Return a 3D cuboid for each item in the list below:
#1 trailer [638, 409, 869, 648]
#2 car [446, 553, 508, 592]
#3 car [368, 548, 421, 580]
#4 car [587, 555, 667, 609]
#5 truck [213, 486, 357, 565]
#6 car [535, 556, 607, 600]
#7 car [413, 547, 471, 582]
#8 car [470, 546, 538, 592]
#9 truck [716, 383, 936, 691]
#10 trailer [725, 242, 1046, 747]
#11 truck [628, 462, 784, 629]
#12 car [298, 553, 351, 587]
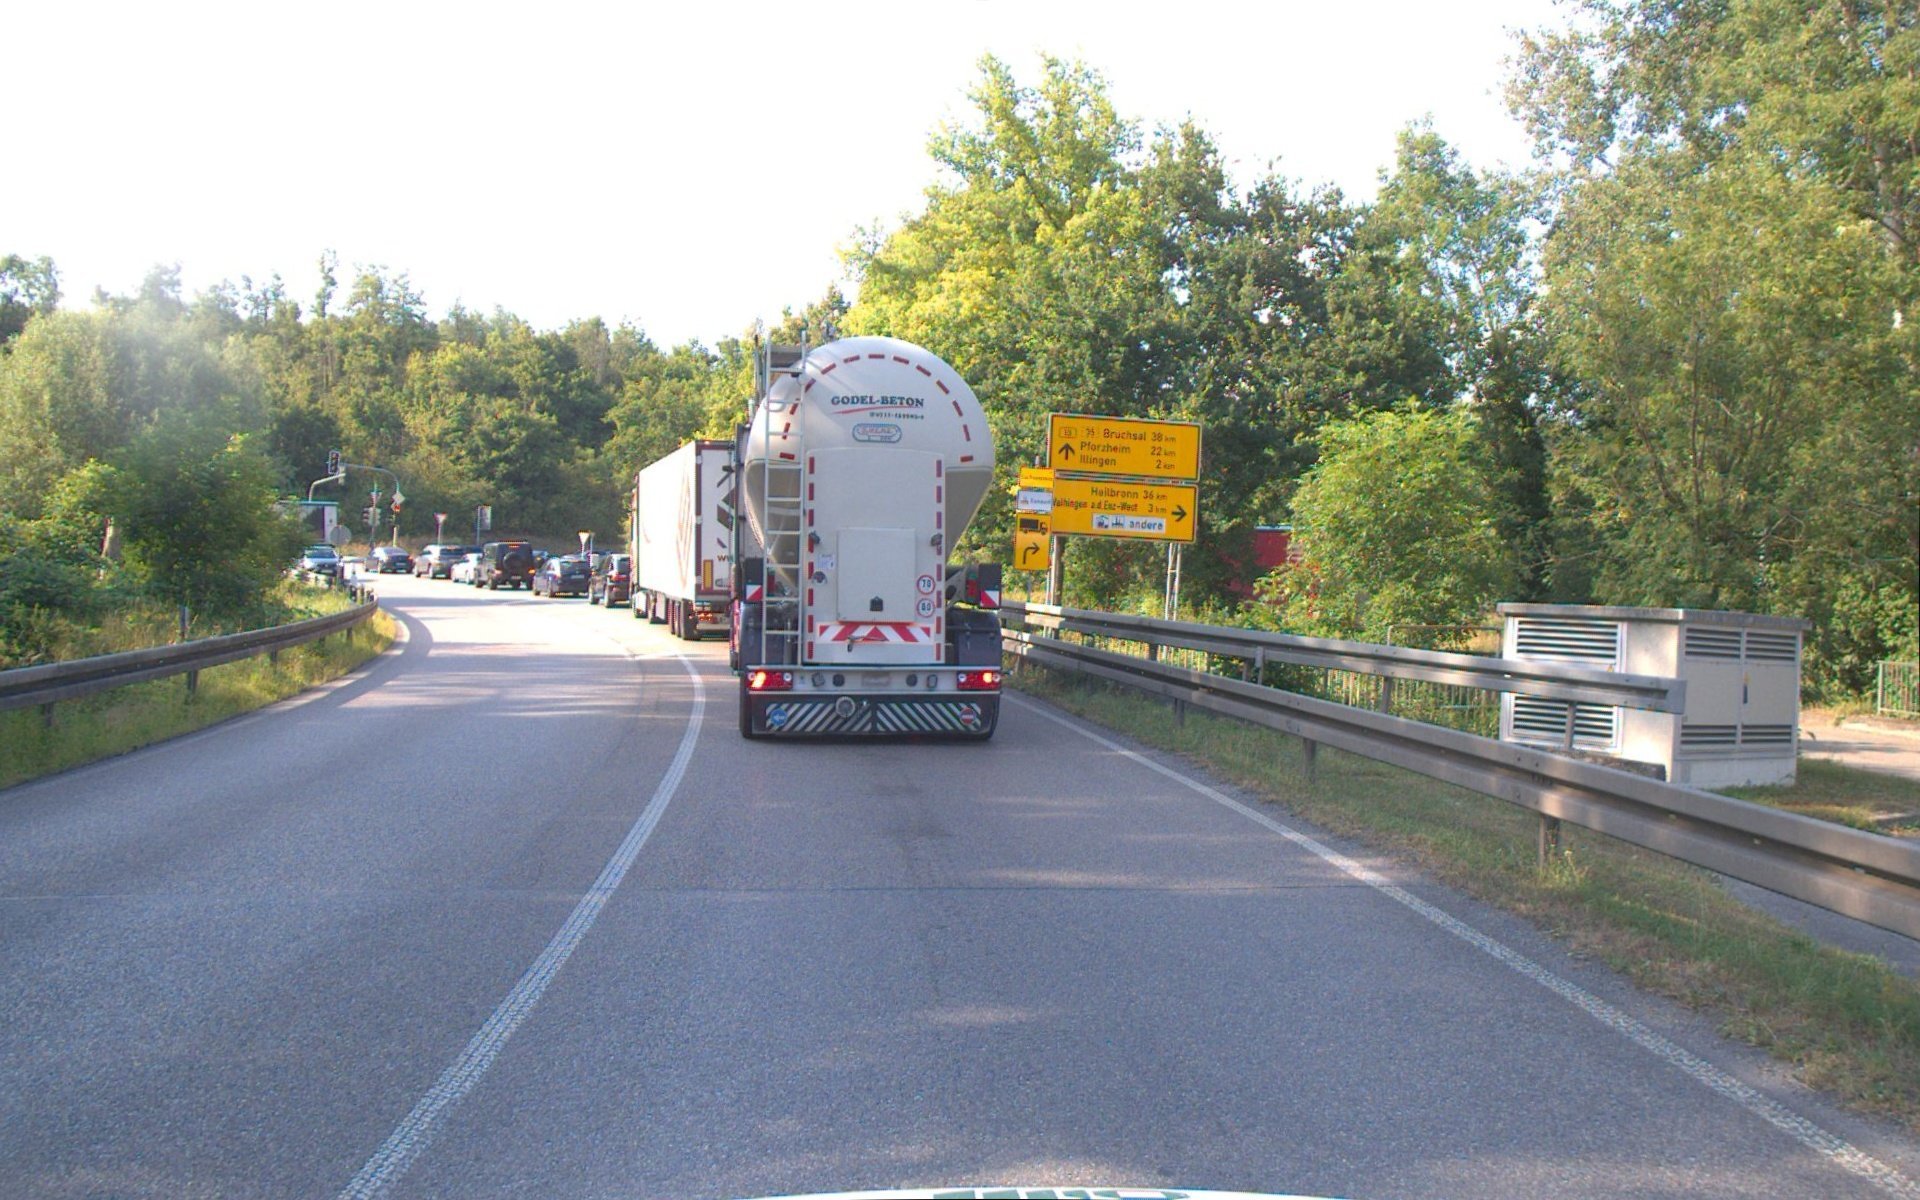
[{"bbox_3d":[-5.259,-1.474,38.860,3.487,4.591,12.931,2,0,-15],"label":"trailer"},{"bbox_3d":[-22.852,-1.305,78.204,1.849,1.712,3.958,2,1,-31],"label":"car"},{"bbox_3d":[-31.139,-1.998,90.996,1.850,1.592,3.957,3,0,-32],"label":"car"},{"bbox_3d":[-11.043,-0.607,54.675,1.842,1.656,3.973,2,0,-22],"label":"car"},{"bbox_3d":[-44.349,-4.796,109.099,2.949,4.664,10.247,2,1,16],"label":"truck"},{"bbox_3d":[-14.935,-0.869,63.363,1.845,1.592,3.965,-1,2,-27],"label":"car"},{"bbox_3d":[-26.347,-1.818,84.047,1.849,1.622,3.959,3,1,-31],"label":"car"},{"bbox_3d":[-19.697,-1.375,71.362,1.936,1.883,3.960,-1,2,-30],"label":"car"},{"bbox_3d":[-2.222,-0.868,25.249,2.773,4.105,5.881,1,1,-10],"label":"truck"},{"bbox_3d":[-1.334,-0.996,19.820,2.833,4.532,9.587,1,1,-8],"label":"trailer"},{"bbox_3d":[-7.105,-1.426,45.456,3.394,4.157,6.463,2,0,-16],"label":"truck"},{"bbox_3d":[-30.332,-1.445,78.930,1.847,1.592,3.962,-1,2,-29],"label":"car"}]
